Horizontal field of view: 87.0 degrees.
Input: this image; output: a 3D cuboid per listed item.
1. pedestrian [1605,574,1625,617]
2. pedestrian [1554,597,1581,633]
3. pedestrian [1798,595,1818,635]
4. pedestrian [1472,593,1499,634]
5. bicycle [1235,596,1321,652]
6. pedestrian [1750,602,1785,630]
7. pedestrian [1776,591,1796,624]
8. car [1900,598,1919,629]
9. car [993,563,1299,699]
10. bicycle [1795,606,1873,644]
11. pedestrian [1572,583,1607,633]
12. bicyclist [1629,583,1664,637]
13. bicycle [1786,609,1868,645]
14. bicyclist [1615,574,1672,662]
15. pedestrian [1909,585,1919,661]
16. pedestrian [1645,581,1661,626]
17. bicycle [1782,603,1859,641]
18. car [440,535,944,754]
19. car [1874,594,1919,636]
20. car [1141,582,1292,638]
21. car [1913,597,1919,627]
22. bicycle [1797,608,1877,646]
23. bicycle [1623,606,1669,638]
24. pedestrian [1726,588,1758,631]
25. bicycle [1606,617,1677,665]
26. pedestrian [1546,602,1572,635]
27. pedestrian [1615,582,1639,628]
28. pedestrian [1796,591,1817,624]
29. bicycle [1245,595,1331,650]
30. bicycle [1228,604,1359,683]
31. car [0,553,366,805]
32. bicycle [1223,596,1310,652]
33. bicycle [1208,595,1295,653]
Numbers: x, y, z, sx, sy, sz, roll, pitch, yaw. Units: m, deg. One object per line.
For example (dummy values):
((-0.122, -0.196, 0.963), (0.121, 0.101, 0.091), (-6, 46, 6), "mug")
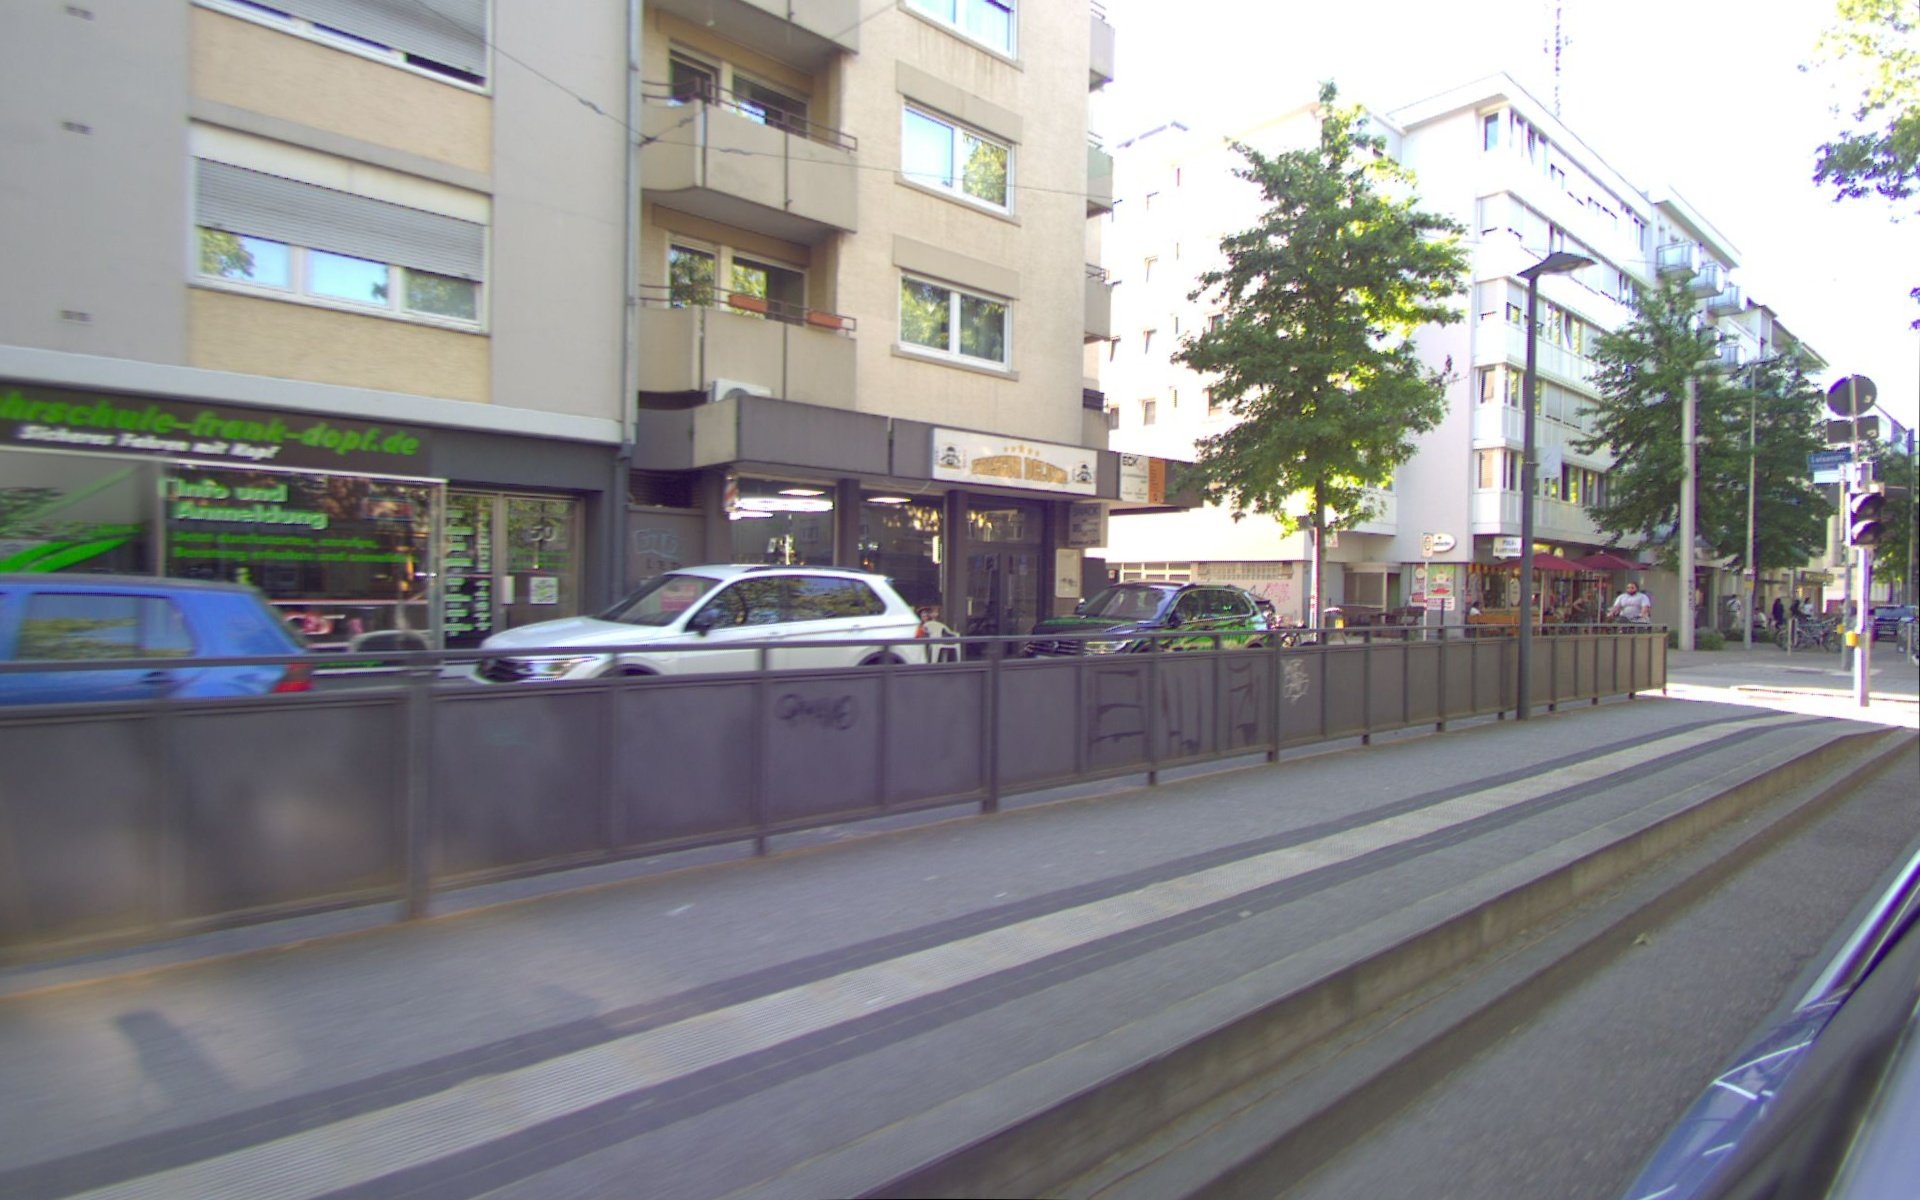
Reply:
((25.284, -0.182, 39.058), (0.500, 1.649, 0.516), (0, 0, 12), "pedestrian")
((20.673, 0.505, 34.430), (0.513, 1.190, 0.659), (0, 0, -42), "pedestrian")
((40.899, 0.715, 48.817), (0.530, 1.875, 0.663), (0, 0, -42), "pedestrian")
((17.006, 0.431, 32.764), (0.703, 1.303, 0.536), (0, 0, -39), "pedestrian")
((7.474, 0.537, 23.863), (0.502, 1.223, 1.916), (2, 0, -44), "bicycle")
((31.232, 0.602, 39.155), (0.995, 1.040, 0.653), (0, 0, 36), "pedestrian")
((42.942, 0.371, 52.603), (0.919, 1.698, 0.597), (0, 3, -43), "pedestrian")
((48.950, 0.695, 51.288), (3.825, 1.500, 1.624), (0, 3, -44), "car")
((2.735, 0.350, 14.365), (4.367, 1.636, 1.997), (-1, 0, -41), "car")
((27.098, 0.759, 31.415), (1.814, 1.114, 0.474), (0, 0, 42), "bicycle")
((21.640, 0.265, 34.803), (0.666, 1.680, 0.814), (0, 0, -34), "pedestrian")
((22.329, 0.311, 32.907), (0.947, 1.739, 0.678), (0, 0, -39), "bicyclist")
((25.910, 0.802, 30.260), (0.473, 1.007, 1.817), (0, 0, -42), "bicycle")
((14.823, 0.370, 21.934), (1.080, 1.854, 0.768), (0, 0, -40), "bicyclist")
((22.928, 0.538, 23.676), (1.044, 1.780, 0.864), (0, 0, 44), "pedestrian")
((28.192, 0.125, 41.168), (0.481, 1.819, 0.432), (0, 0, -42), "pedestrian")
((27.342, 0.681, 32.181), (0.516, 1.114, 1.818), (0, 1, -41), "bicycle")
((-2.359, 0.308, 9.658), (4.340, 1.626, 1.801), (-1, 0, -43), "car")
((41.077, 0.621, 43.757), (4.254, 1.606, 1.763), (0, 4, -41), "car")
((7.969, 0.249, 31.668), (1.933, 1.612, 4.255), (-2, 2, -41), "car")
((51.822, 0.676, 53.728), (2.831, 1.556, 1.447), (0, 2, -41), "car")
((26.720, 0.800, 30.856), (1.814, 1.114, 0.490), (0, 0, 42), "bicycle")
((22.267, 0.695, 32.844), (1.985, 0.975, 0.678), (0, 0, -39), "bicycle")
((32.909, 0.391, 42.577), (0.581, 1.806, 0.995), (0, 0, 1), "pedestrian")
((14.752, 0.861, 21.890), (1.905, 0.949, 0.790), (0, 0, -41), "bicycle")
((19.890, 0.602, 33.598), (0.513, 1.092, 0.642), (0, 0, -42), "pedestrian")
((26.937, 0.197, 40.863), (0.620, 1.828, 0.526), (0, 0, 3), "pedestrian")
((43.508, 0.393, 51.994), (0.855, 1.658, 0.643), (1, 2, -43), "pedestrian")
((7.835, 0.512, 24.242), (0.502, 1.223, 1.916), (2, 0, -44), "bicycle")
((5.478, 0.672, 16.760), (0.668, 1.202, 2.134), (0, 0, -32), "bicycle")
((-6.279, 0.453, 6.356), (4.172, 1.458, 1.747), (-1, 0, -41), "car")
((7.093, 0.539, 23.500), (0.502, 1.223, 1.916), (1, 1, -44), "bicycle")
((6.653, 0.528, 23.175), (0.502, 1.223, 1.916), (1, 1, -44), "bicycle")
